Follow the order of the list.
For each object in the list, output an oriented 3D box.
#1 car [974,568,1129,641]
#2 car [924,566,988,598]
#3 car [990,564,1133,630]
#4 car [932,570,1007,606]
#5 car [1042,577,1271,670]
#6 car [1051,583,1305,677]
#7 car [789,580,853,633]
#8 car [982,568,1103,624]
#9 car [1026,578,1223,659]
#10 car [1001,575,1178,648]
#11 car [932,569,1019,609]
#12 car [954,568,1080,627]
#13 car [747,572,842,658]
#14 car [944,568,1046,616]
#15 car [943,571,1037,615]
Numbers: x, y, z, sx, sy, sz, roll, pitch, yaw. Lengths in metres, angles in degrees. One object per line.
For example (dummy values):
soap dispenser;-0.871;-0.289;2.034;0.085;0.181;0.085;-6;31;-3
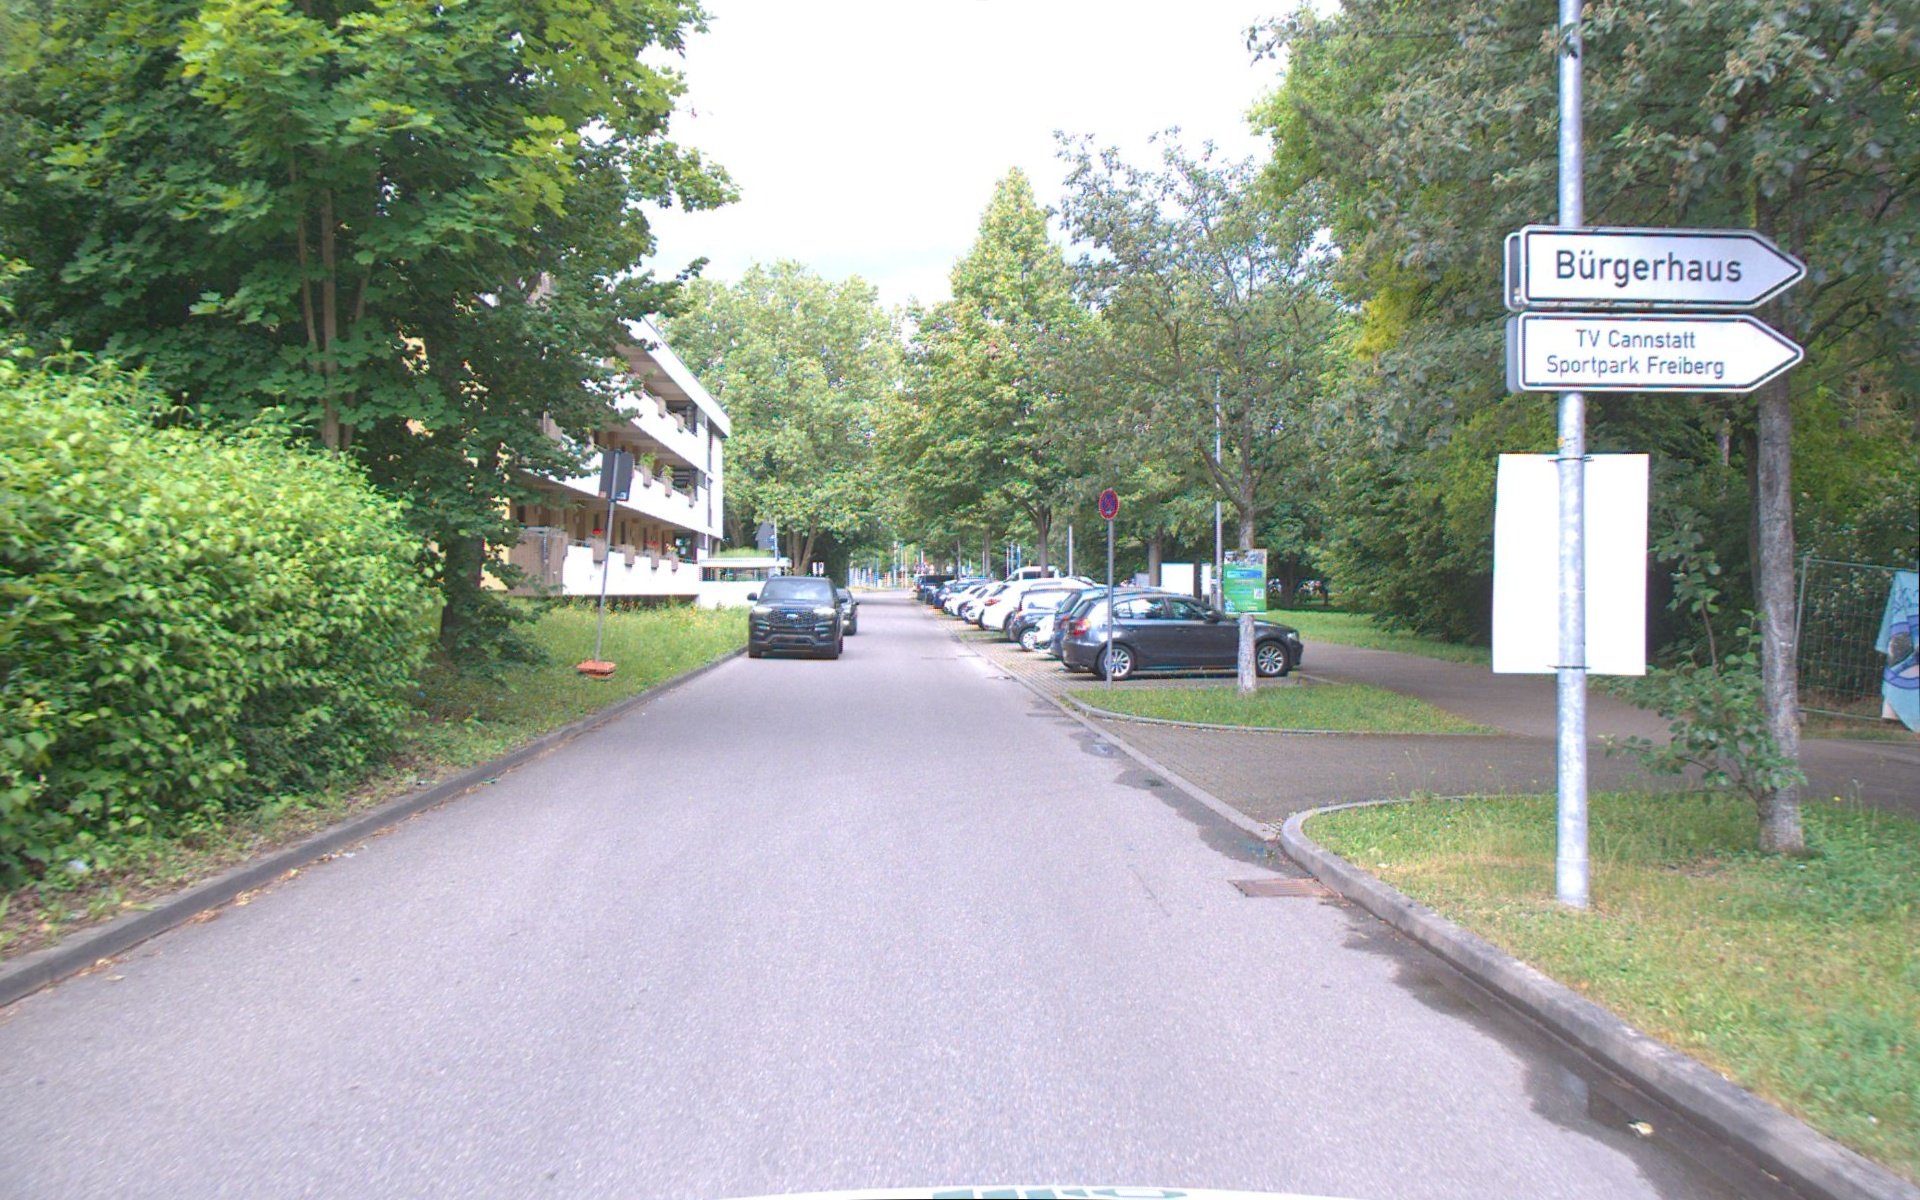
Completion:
car;2.500;0.107;45.744;3.986;1.716;1.820;-4;1;-7
car;-0.279;-1.176;108.655;3.986;1.801;1.820;-4;1;-7
car;3.040;-0.107;49.885;3.986;1.716;1.820;-4;1;-7
car;0.535;-0.690;93.416;3.986;1.801;1.820;-4;1;-7
car;3.624;0.436;30.985;3.983;1.596;1.821;-1;-1;-4
car;3.661;0.507;28.333;3.983;1.459;1.998;-1;-1;-4
car;-4.352;0.174;52.199;1.930;1.603;4.335;0;0;-4
car;2.921;-0.153;58.845;3.986;1.716;1.820;-4;1;-7
car;3.513;0.372;35.800;3.983;1.595;1.821;-1;1;-4
car;3.131;0.261;40.499;3.986;1.514;1.820;-4;1;-7
car;0.726;-0.540;80.326;3.986;1.716;1.820;-4;1;-7
car;1.917;-0.092;56.236;3.986;1.716;1.820;-4;1;-7
car;-3.589;0.299;36.533;1.930;1.778;4.335;0;0;-4
car;1.445;-0.335;69.482;3.986;1.716;1.820;-4;1;-7
car;1.324;-0.330;74.921;3.986;1.716;1.820;-4;1;-7
